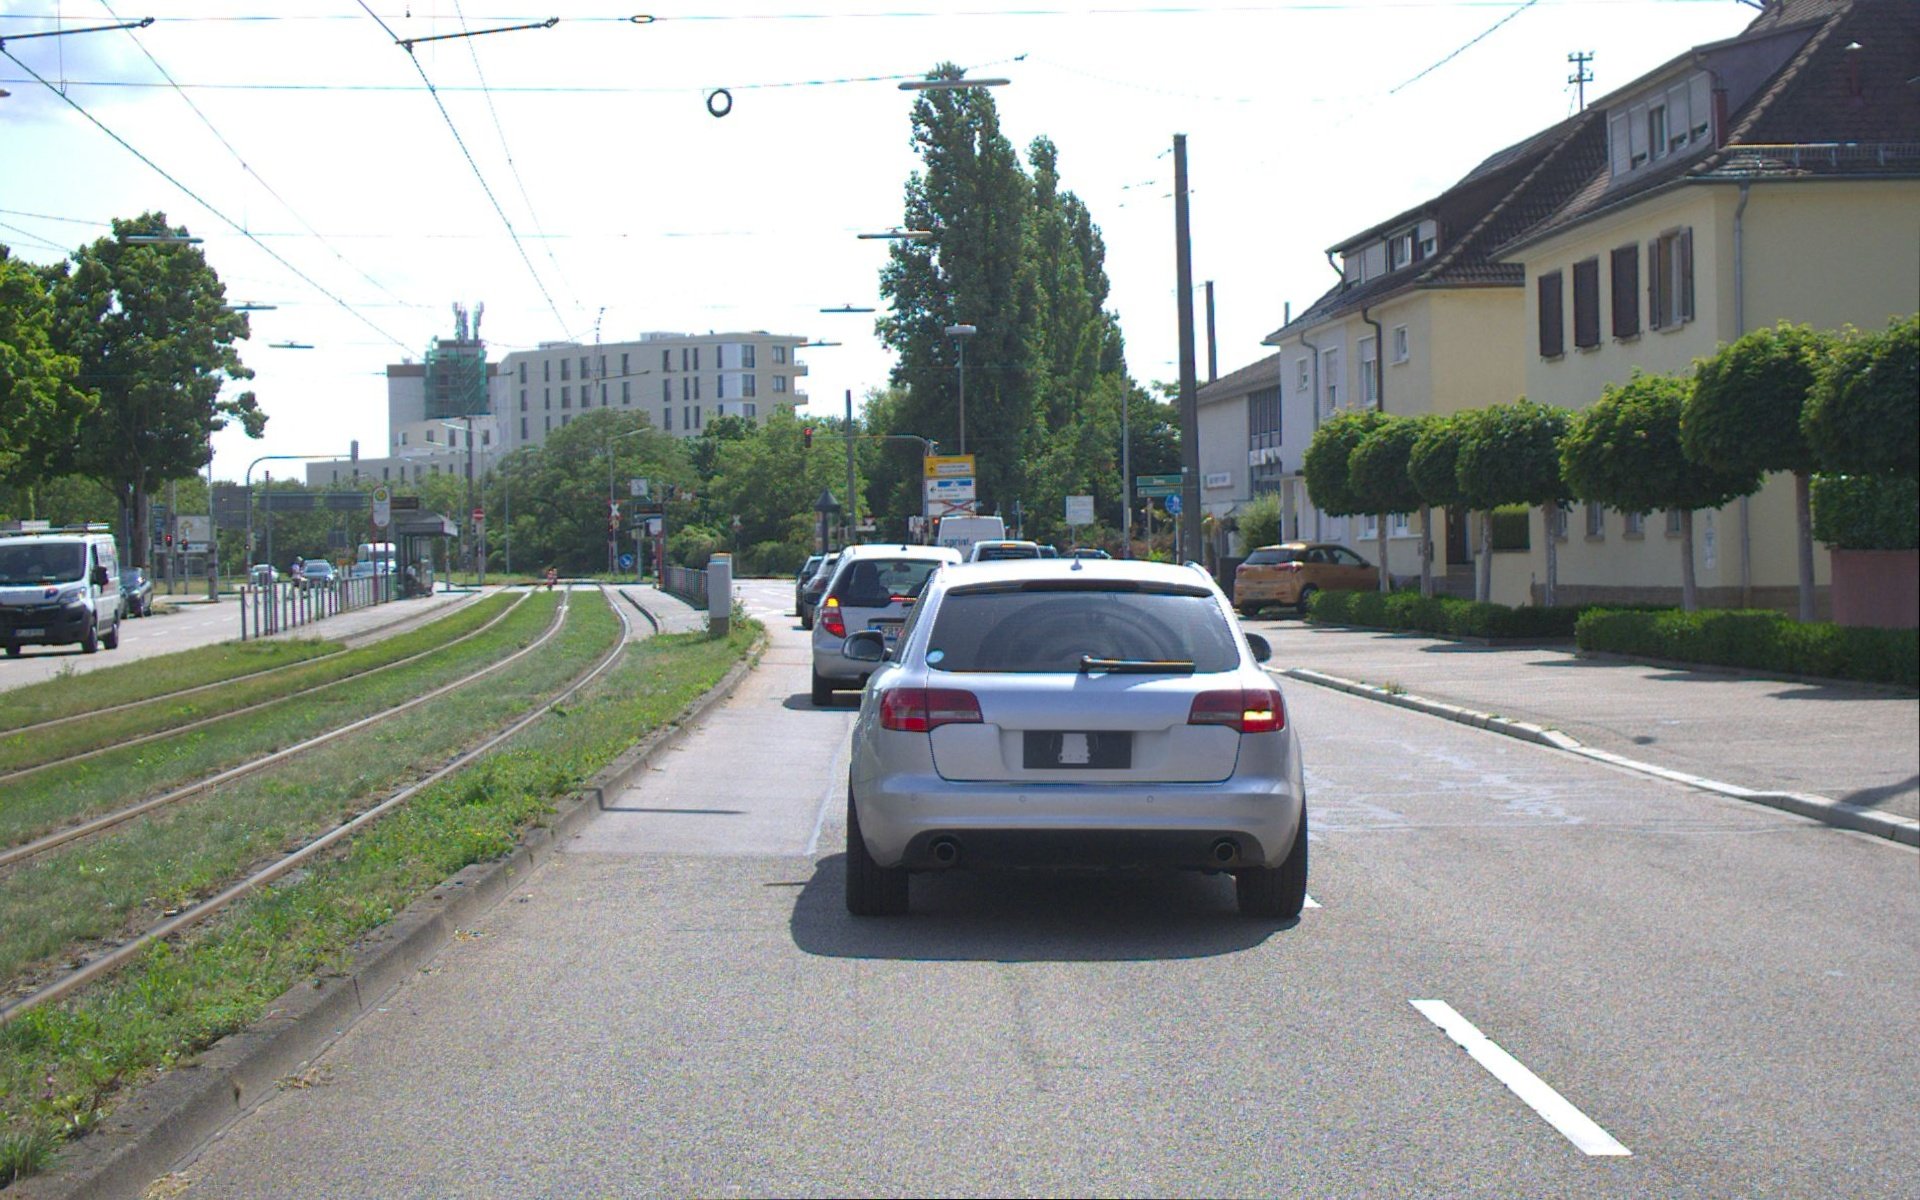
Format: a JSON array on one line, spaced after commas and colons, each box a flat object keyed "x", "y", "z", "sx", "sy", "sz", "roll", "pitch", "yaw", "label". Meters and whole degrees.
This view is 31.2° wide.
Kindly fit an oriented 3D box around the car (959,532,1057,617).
[{"x": 1.050, "y": -0.570, "z": 73.078, "sx": 1.885, "sy": 1.725, "sz": 4.094, "roll": -1, "pitch": 1, "yaw": 3, "label": "car"}]

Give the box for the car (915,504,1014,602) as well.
[{"x": 0.086, "y": -1.278, "z": 92.748, "sx": 2.040, "sy": 2.549, "sz": 5.232, "roll": -1, "pitch": 1, "yaw": -6, "label": "car"}]

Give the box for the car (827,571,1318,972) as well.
[{"x": 0.512, "y": 0.627, "z": 15.262, "sx": 1.854, "sy": 1.487, "sz": 4.536, "roll": 0, "pitch": 1, "yaw": 2, "label": "car"}]

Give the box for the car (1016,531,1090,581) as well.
[{"x": 3.052, "y": -1.442, "z": 113.705, "sx": 1.884, "sy": 1.631, "sz": 4.095, "roll": 0, "pitch": 0, "yaw": -6, "label": "car"}]

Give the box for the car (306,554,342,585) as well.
[{"x": -34.598, "y": -1.675, "z": 186.998, "sx": 1.862, "sy": 1.645, "sz": 4.001, "roll": 0, "pitch": 0, "yaw": -10, "label": "car"}]

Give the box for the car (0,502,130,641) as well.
[{"x": -16.533, "y": -0.503, "z": 62.818, "sx": 2.196, "sy": 2.364, "sz": 5.334, "roll": -2, "pitch": 1, "yaw": -9, "label": "car"}]

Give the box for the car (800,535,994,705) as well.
[{"x": -0.689, "y": 0.158, "z": 34.720, "sx": 1.787, "sy": 1.571, "sz": 4.095, "roll": 1, "pitch": 1, "yaw": -3, "label": "car"}]

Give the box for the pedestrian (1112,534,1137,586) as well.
[{"x": 5.794, "y": -1.406, "z": 121.128, "sx": 0.721, "sy": 1.776, "sz": 0.703, "roll": -3, "pitch": 1, "yaw": -3, "label": "pedestrian"}]

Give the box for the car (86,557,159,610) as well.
[{"x": -26.888, "y": -0.544, "z": 110.438, "sx": 2.059, "sy": 1.608, "sz": 4.755, "roll": -1, "pitch": 1, "yaw": -11, "label": "car"}]

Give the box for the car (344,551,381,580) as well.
[{"x": -31.617, "y": -1.821, "z": 182.004, "sx": 1.896, "sy": 1.536, "sz": 3.730, "roll": 0, "pitch": 0, "yaw": -10, "label": "car"}]

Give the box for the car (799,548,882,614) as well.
[{"x": -2.853, "y": -0.455, "z": 82.635, "sx": 1.885, "sy": 1.525, "sz": 4.094, "roll": 1, "pitch": 0, "yaw": -1, "label": "car"}]

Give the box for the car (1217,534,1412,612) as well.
[{"x": 7.465, "y": -0.597, "z": 72.168, "sx": 1.915, "sy": 1.453, "sz": 4.083, "roll": 1, "pitch": 3, "yaw": 44, "label": "car"}]
